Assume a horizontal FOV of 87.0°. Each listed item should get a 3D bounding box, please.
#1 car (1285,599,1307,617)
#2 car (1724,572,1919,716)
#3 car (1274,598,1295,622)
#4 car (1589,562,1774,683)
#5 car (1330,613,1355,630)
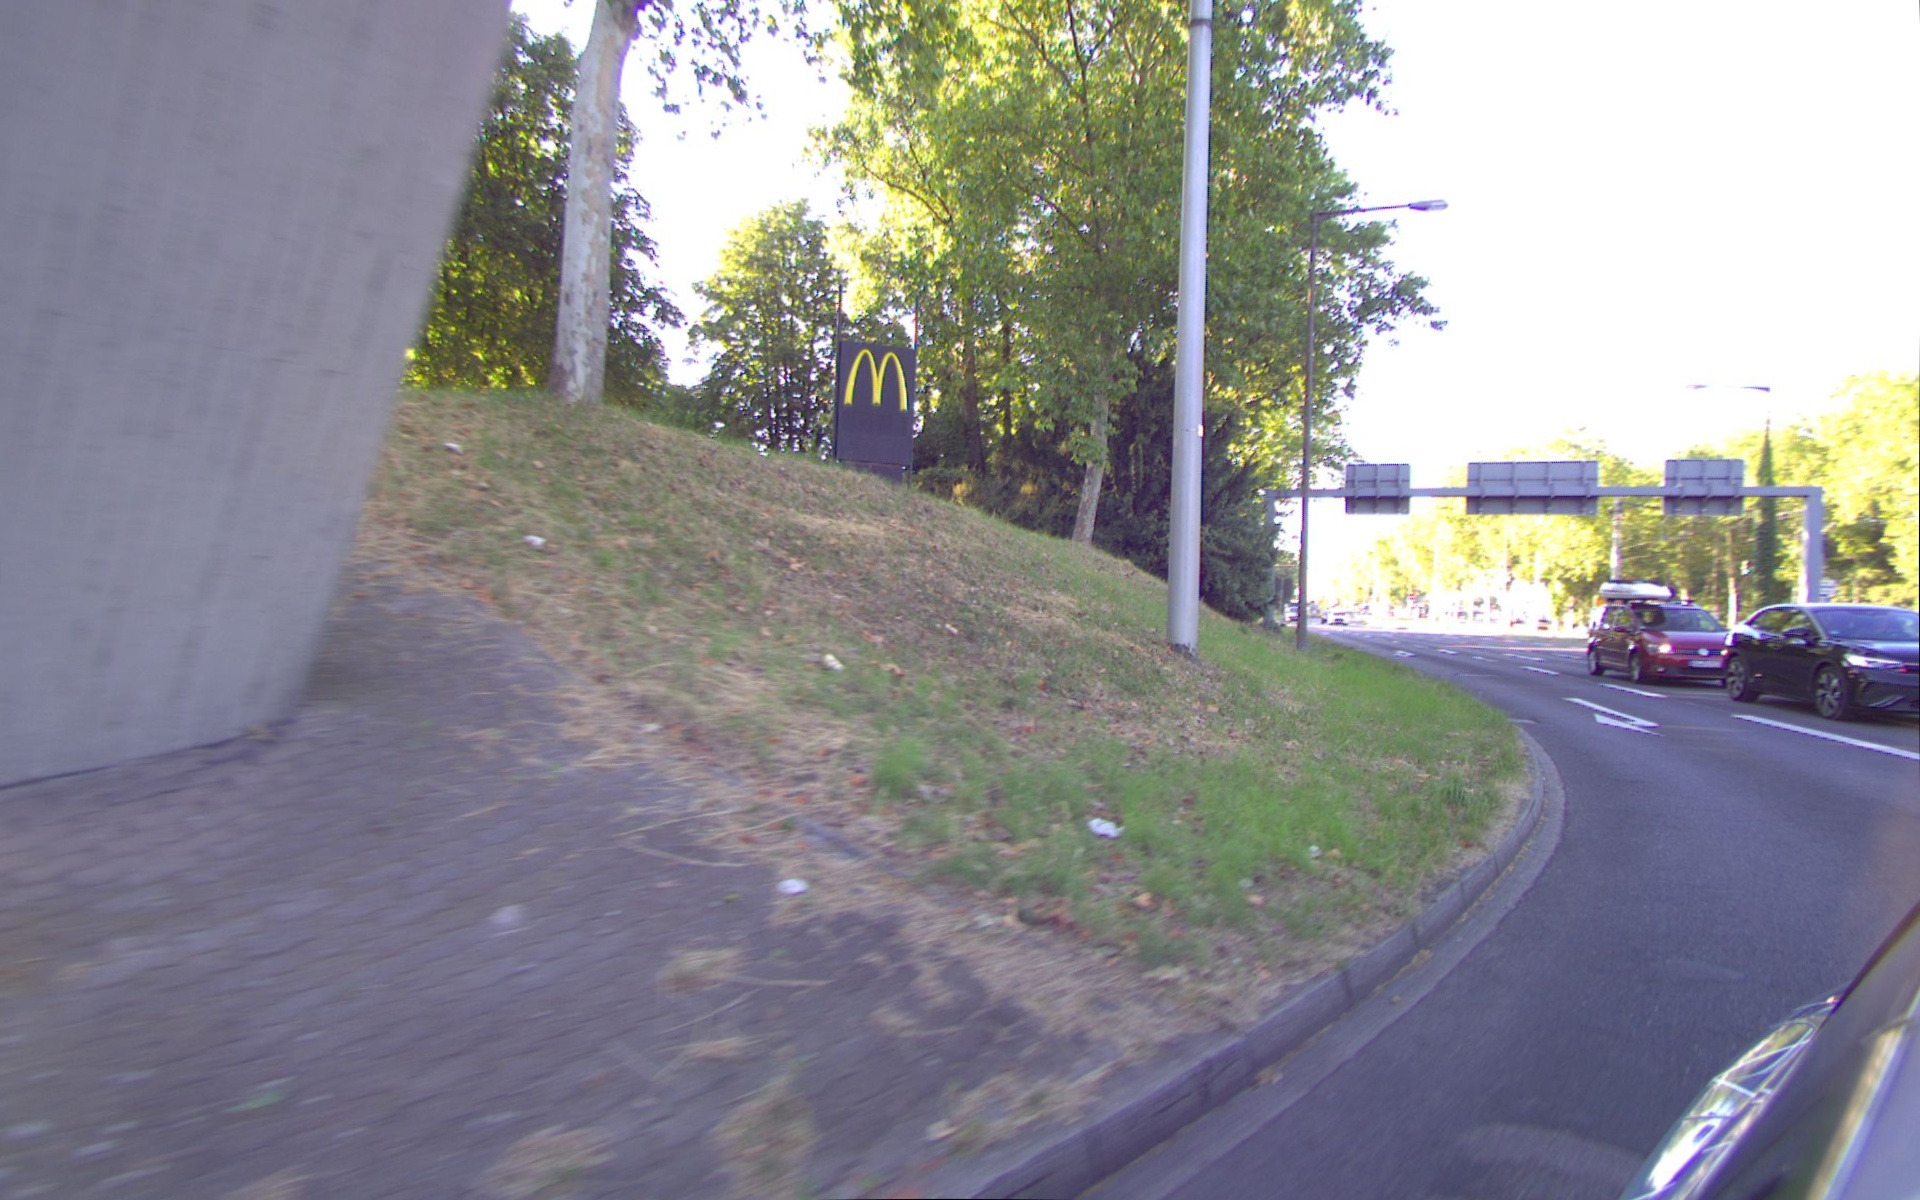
[{"bbox_3d":[34.399,0.824,103.665,1.850,1.638,4.524,3,0,16],"label":"car"},{"bbox_3d":[12.993,0.607,14.561,1.774,1.772,4.217,3,0,17],"label":"car"},{"bbox_3d":[36.649,1.162,114.354,1.983,2.563,5.843,2,0,17],"label":"car"},{"bbox_3d":[14.500,0.430,20.605,1.774,2.132,3.978,3,0,16],"label":"car"},{"bbox_3d":[39.147,2.203,103.567,1.860,1.638,3.958,3,0,29],"label":"car"}]
